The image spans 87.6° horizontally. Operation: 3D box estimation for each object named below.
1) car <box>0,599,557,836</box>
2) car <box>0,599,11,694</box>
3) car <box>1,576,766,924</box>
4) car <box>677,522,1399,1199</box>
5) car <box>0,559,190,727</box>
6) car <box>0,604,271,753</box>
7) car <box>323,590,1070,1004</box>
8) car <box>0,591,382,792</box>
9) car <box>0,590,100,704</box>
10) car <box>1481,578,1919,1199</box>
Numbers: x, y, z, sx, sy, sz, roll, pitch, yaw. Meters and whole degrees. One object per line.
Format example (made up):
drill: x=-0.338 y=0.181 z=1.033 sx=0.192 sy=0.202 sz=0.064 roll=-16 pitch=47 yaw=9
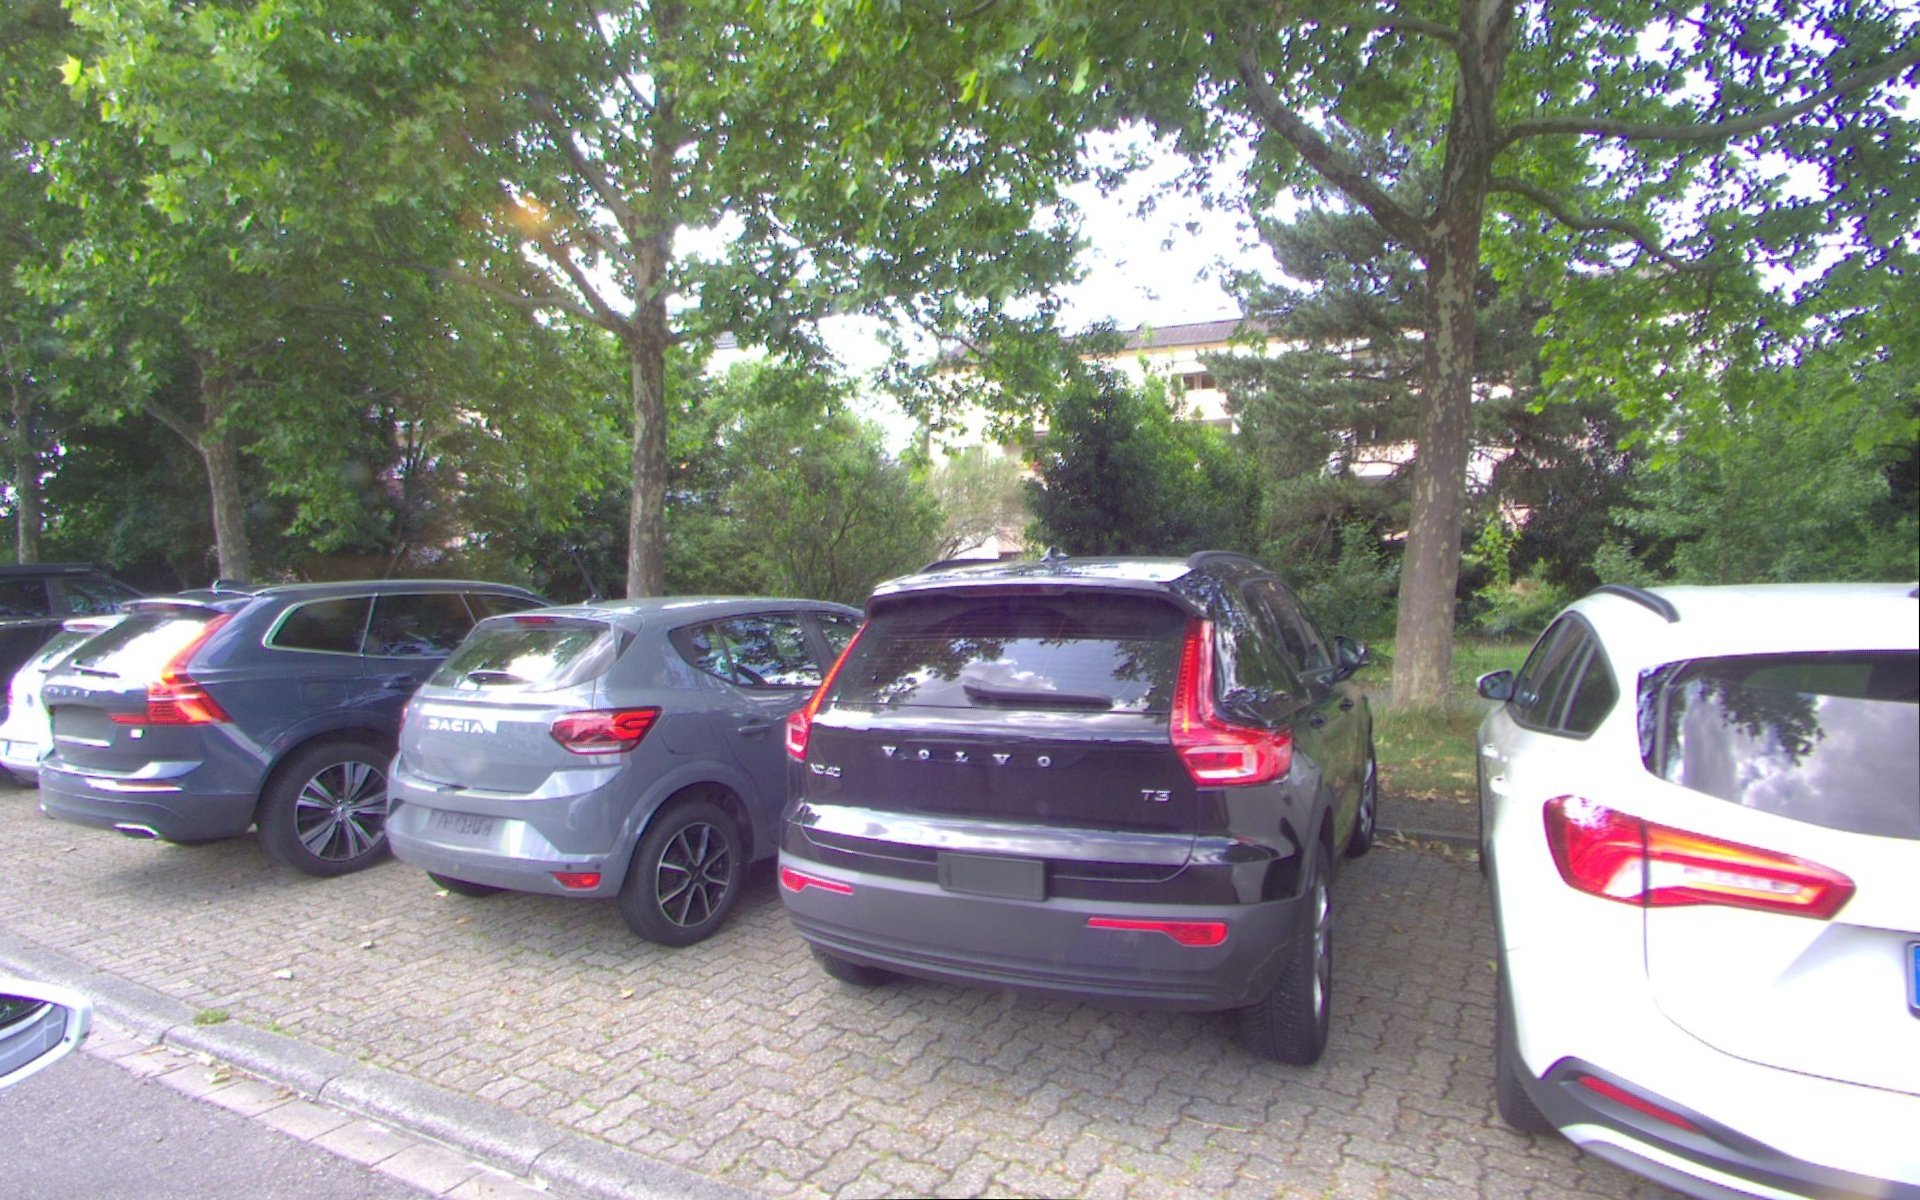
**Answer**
car: x=-5.793 y=0.783 z=8.791 sx=1.730 sy=1.514 sz=3.959 roll=0 pitch=1 yaw=30
car: x=-18.739 y=0.858 z=16.206 sx=1.826 sy=1.683 sz=4.543 roll=0 pitch=1 yaw=26
car: x=-3.540 y=0.686 z=7.080 sx=1.731 sy=1.661 sz=4.371 roll=0 pitch=1 yaw=32
car: x=0.976 y=0.611 z=4.799 sx=1.818 sy=1.648 sz=4.654 roll=0 pitch=1 yaw=27
car: x=-13.178 y=0.565 z=13.094 sx=1.828 sy=2.152 sz=4.538 roll=0 pitch=1 yaw=30
car: x=-10.544 y=0.851 z=11.497 sx=1.730 sy=1.514 sz=3.959 roll=-1 pitch=1 yaw=30
car: x=-1.070 y=0.720 z=6.061 sx=1.731 sy=1.521 sz=4.371 roll=0 pitch=1 yaw=32
car: x=-8.190 y=0.752 z=10.012 sx=1.725 sy=1.627 sz=3.969 roll=0 pitch=1 yaw=20
car: x=-16.374 y=0.765 z=15.305 sx=1.828 sy=1.790 sz=4.538 roll=0 pitch=1 yaw=30
car: x=2.913 y=0.675 z=3.551 sx=1.818 sy=1.493 sz=4.654 roll=0 pitch=1 yaw=27
